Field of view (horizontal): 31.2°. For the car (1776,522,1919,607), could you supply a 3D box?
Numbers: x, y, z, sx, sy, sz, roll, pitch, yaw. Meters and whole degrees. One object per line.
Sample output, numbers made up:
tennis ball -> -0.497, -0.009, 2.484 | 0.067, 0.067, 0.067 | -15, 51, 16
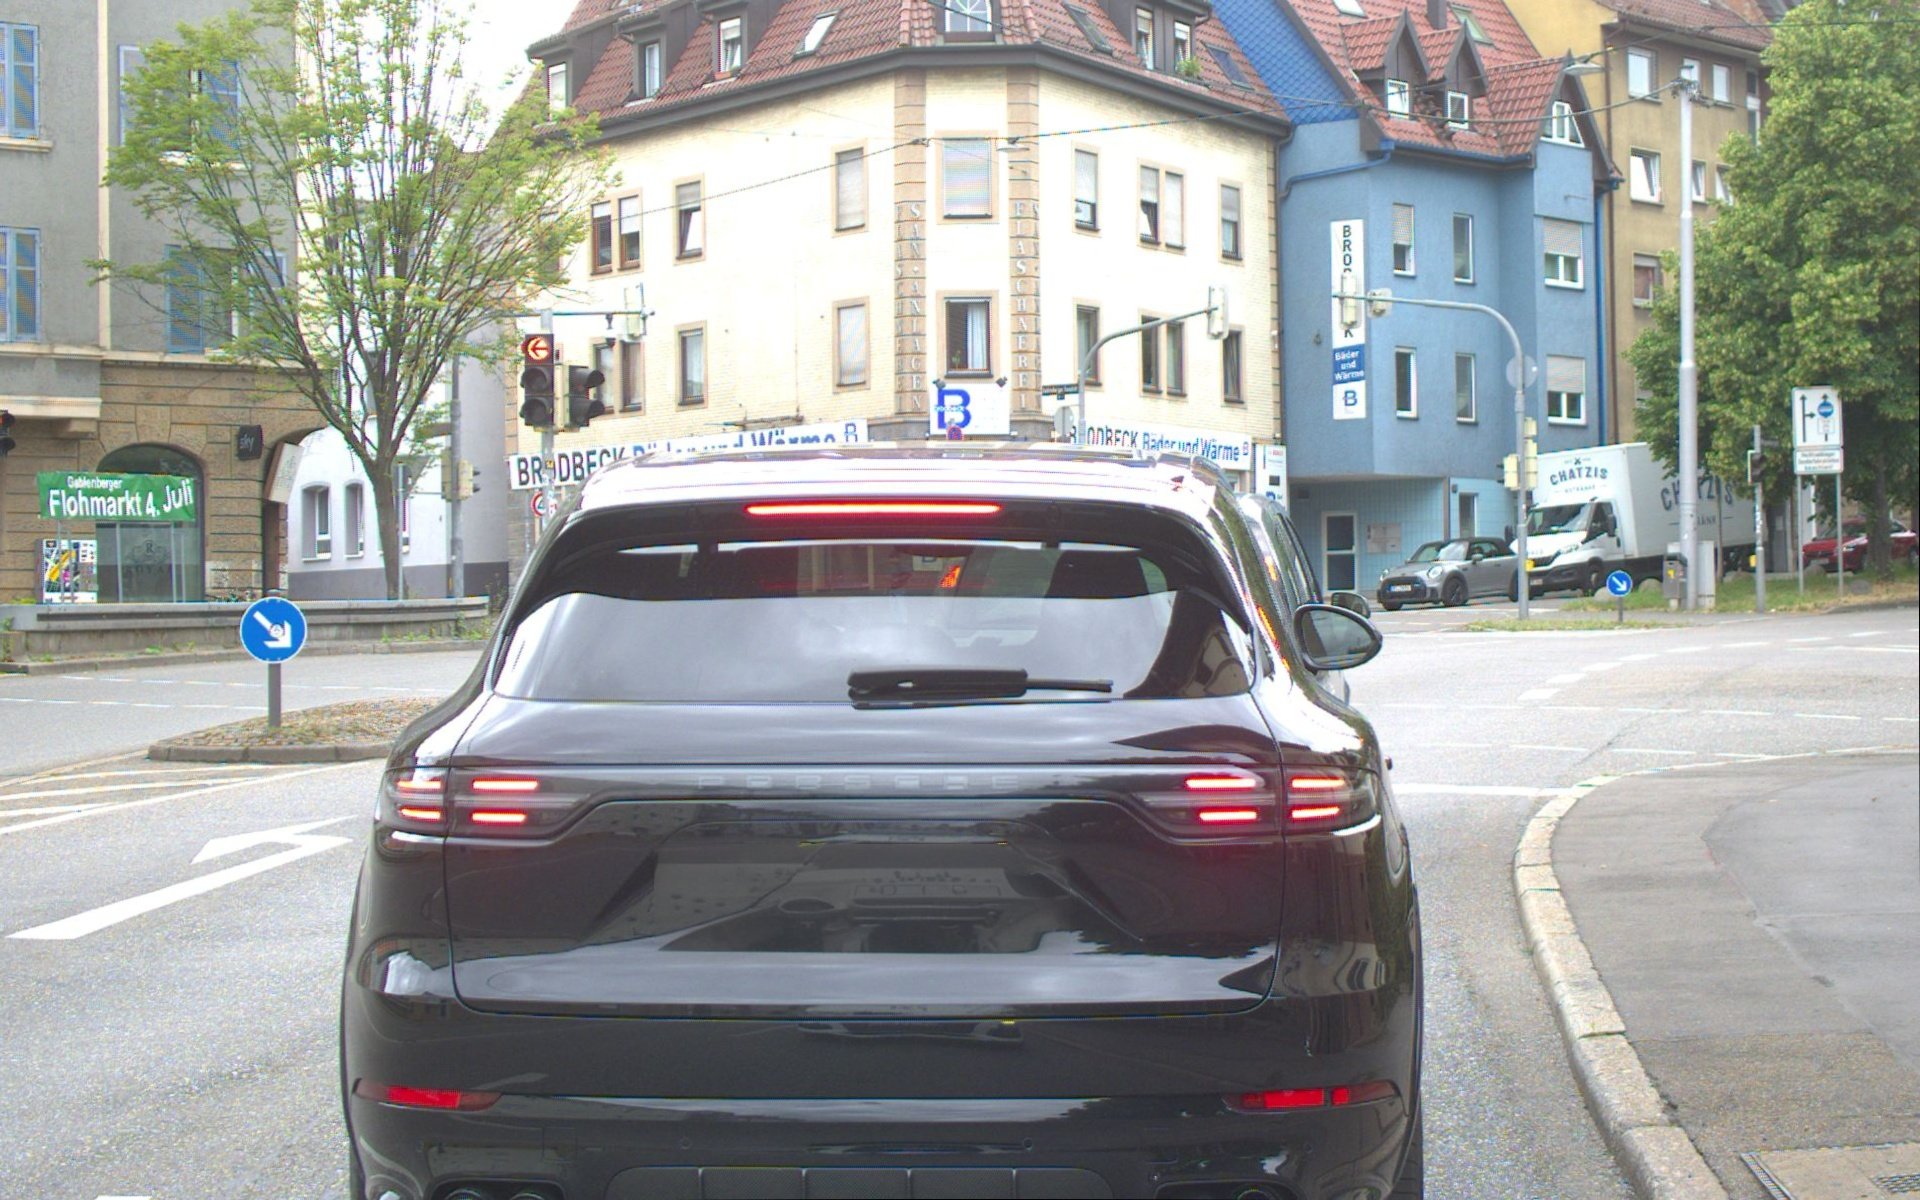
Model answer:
car -> 22.433, -0.885, 86.333 | 1.999, 2.007, 3.990 | 2, 1, 43

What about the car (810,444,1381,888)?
car -> 0.745, 0.221, 15.146 | 1.994, 1.678, 3.998 | 0, 1, 10

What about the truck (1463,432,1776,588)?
truck -> 15.177, -2.000, 78.596 | 2.880, 3.328, 8.772 | 2, 1, 41

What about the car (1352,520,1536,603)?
car -> 10.143, -0.813, 71.904 | 1.998, 1.678, 3.991 | 1, 1, 41

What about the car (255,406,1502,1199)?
car -> -0.236, 0.477, 7.468 | 1.978, 1.678, 4.001 | 0, 2, -3
